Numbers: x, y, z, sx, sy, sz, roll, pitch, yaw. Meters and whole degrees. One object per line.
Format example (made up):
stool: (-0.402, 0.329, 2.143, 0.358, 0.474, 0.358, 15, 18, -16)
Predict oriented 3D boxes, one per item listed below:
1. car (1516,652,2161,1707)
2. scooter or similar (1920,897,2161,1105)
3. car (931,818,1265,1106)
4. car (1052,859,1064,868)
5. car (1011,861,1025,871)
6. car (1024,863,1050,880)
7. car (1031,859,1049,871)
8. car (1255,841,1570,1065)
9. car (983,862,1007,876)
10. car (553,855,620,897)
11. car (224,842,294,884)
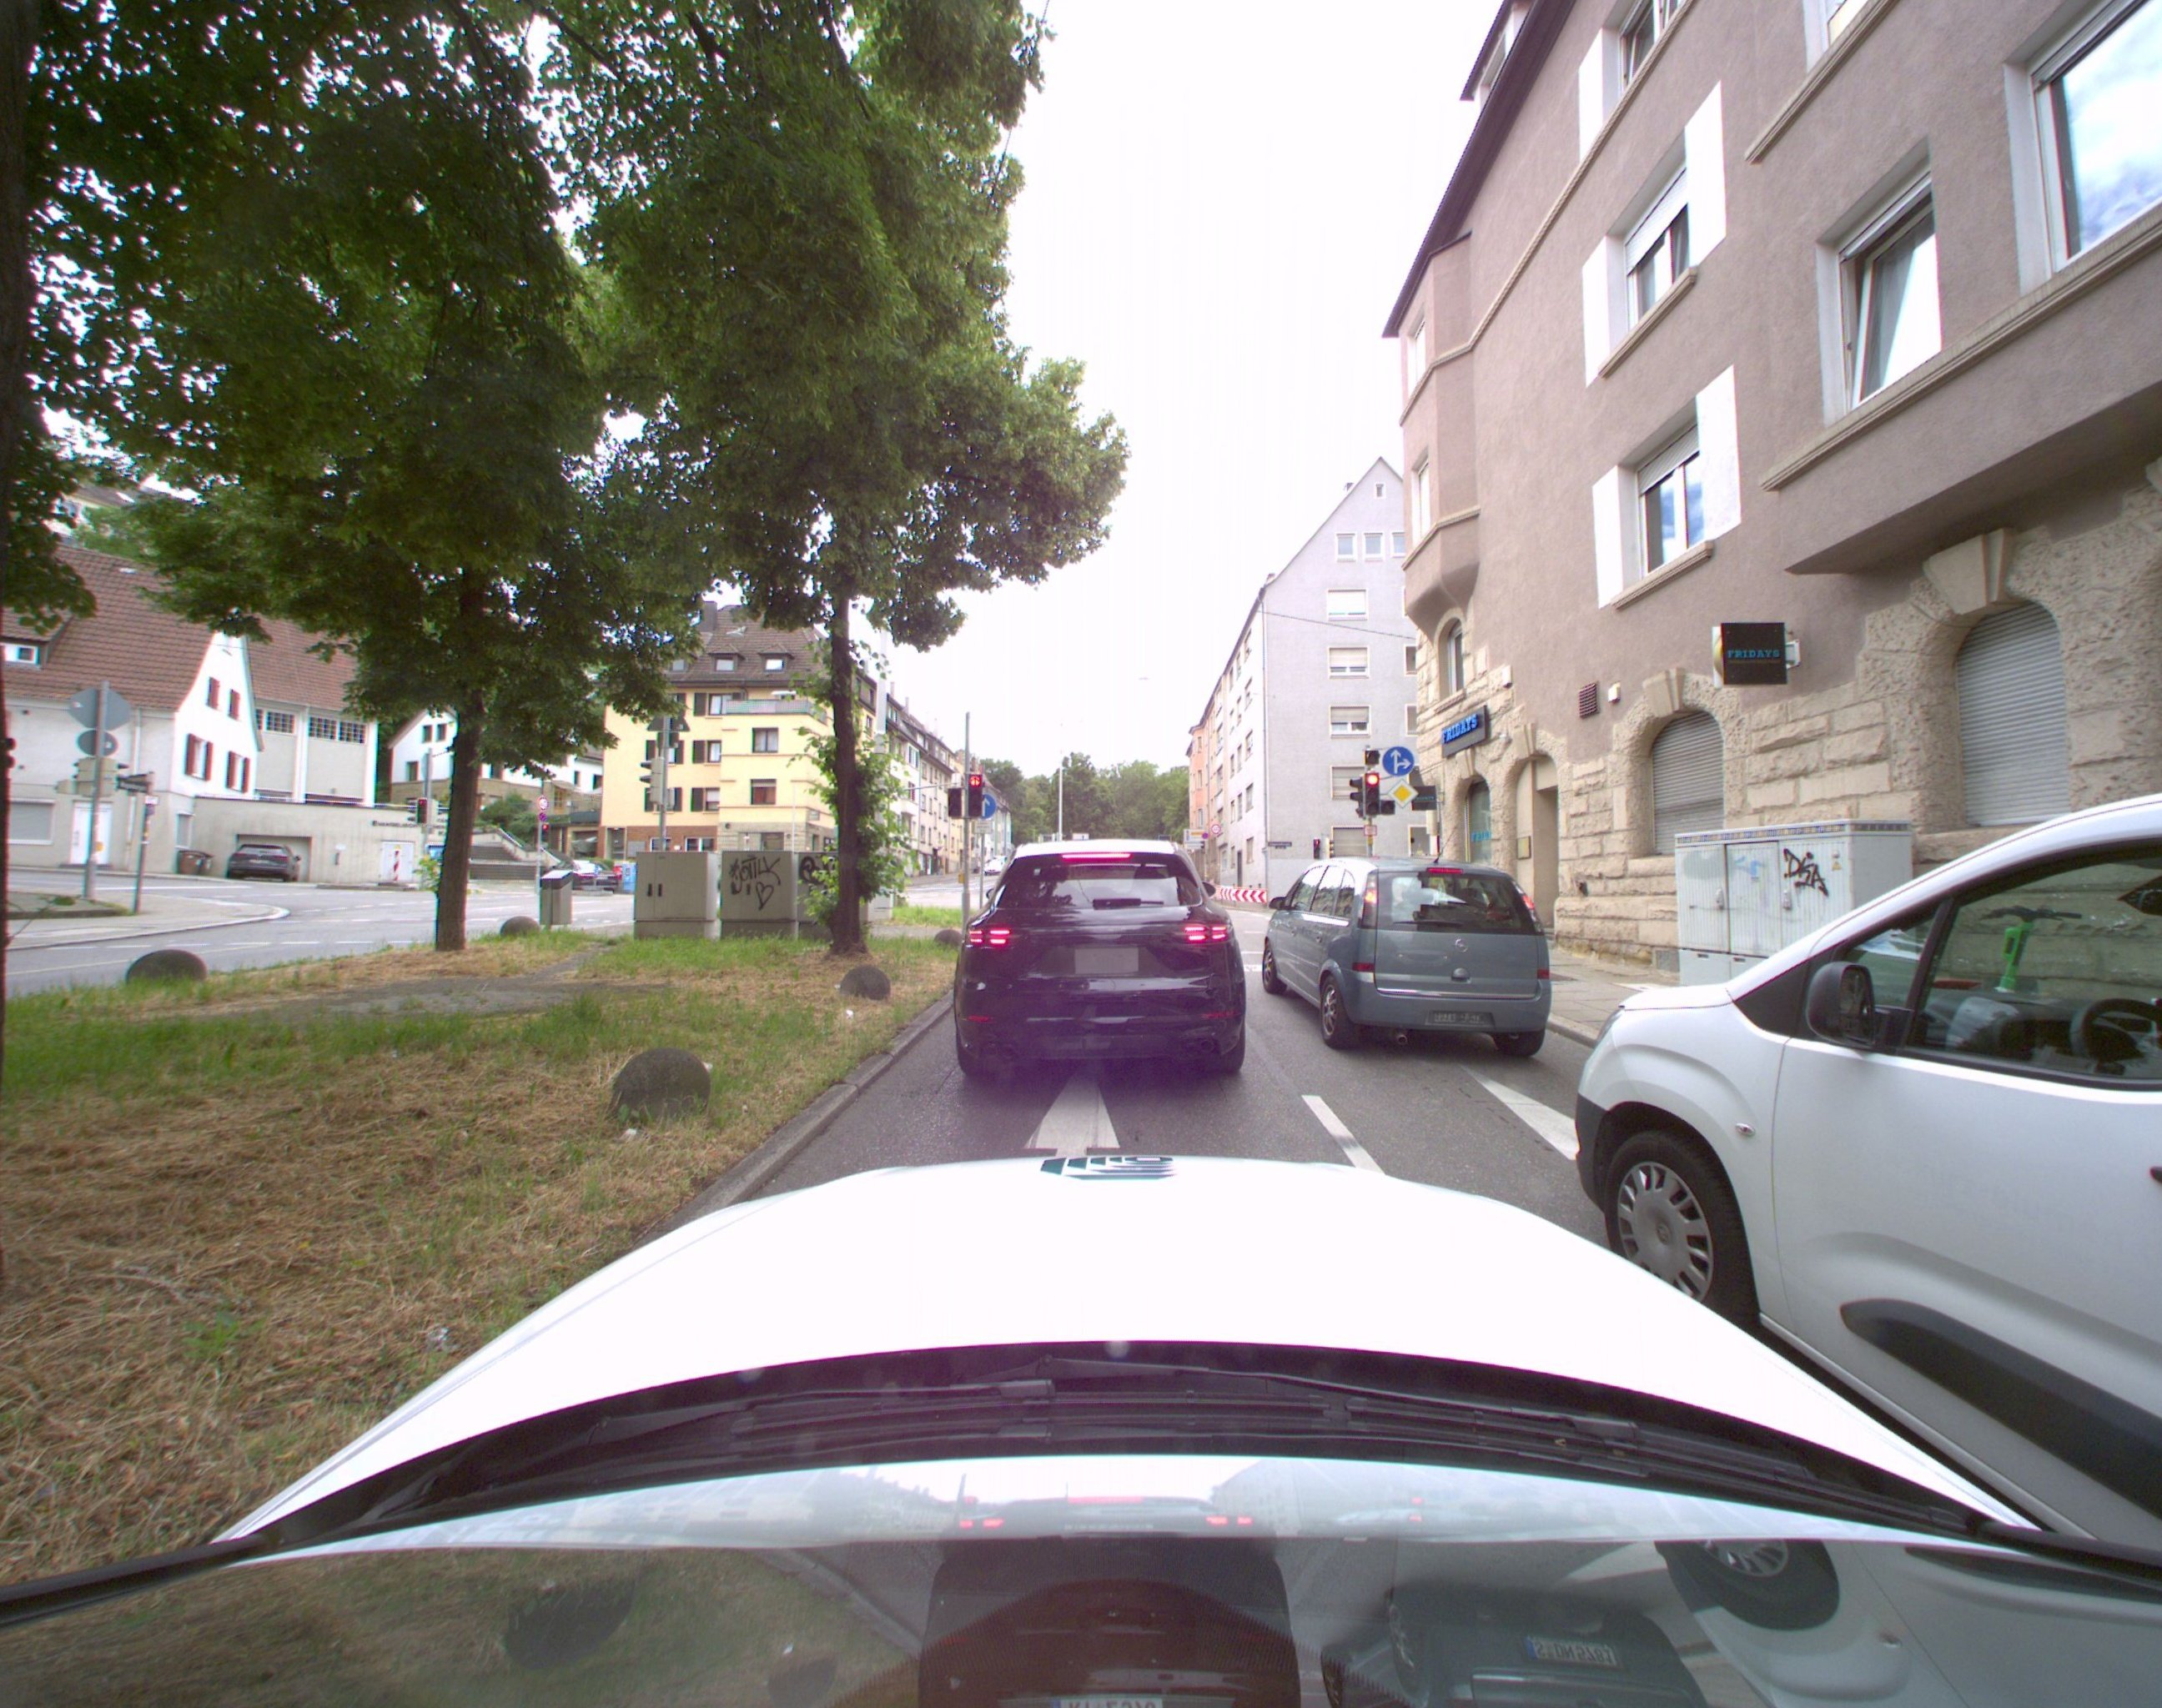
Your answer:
car: (2.804, 0.586, 1.041, 1.969, 1.775, 4.676, 3, 0, 0)
scooter or similar: (6.395, 0.863, 5.262, 0.524, 1.104, 1.424, -1, -1, 4)
car: (0.160, 0.658, 6.834, 1.948, 1.674, 4.001, -1, -1, 2)
car: (-3.884, 1.643, 138.000, 1.611, 1.480, 3.828, -1, -2, 5)
car: (-9.647, 1.866, 125.377, 1.682, 1.538, 3.815, 0, -1, 2)
car: (-3.684, 1.453, 69.192, 1.854, 1.388, 4.096, 0, 0, 2)
car: (-5.298, 1.433, 106.715, 1.966, 1.610, 4.560, 0, 0, 2)
car: (2.867, 0.753, 7.915, 1.622, 1.598, 3.670, 3, 0, 2)
car: (-8.866, 1.538, 84.490, 1.836, 1.486, 3.902, 0, -1, 4)
car: (-23.587, 1.010, 38.836, 3.477, 1.596, 1.881, 7, 4, 44)
car: (-32.155, 0.356, 31.835, 3.019, 1.405, 1.681, 2, -4, 42)
